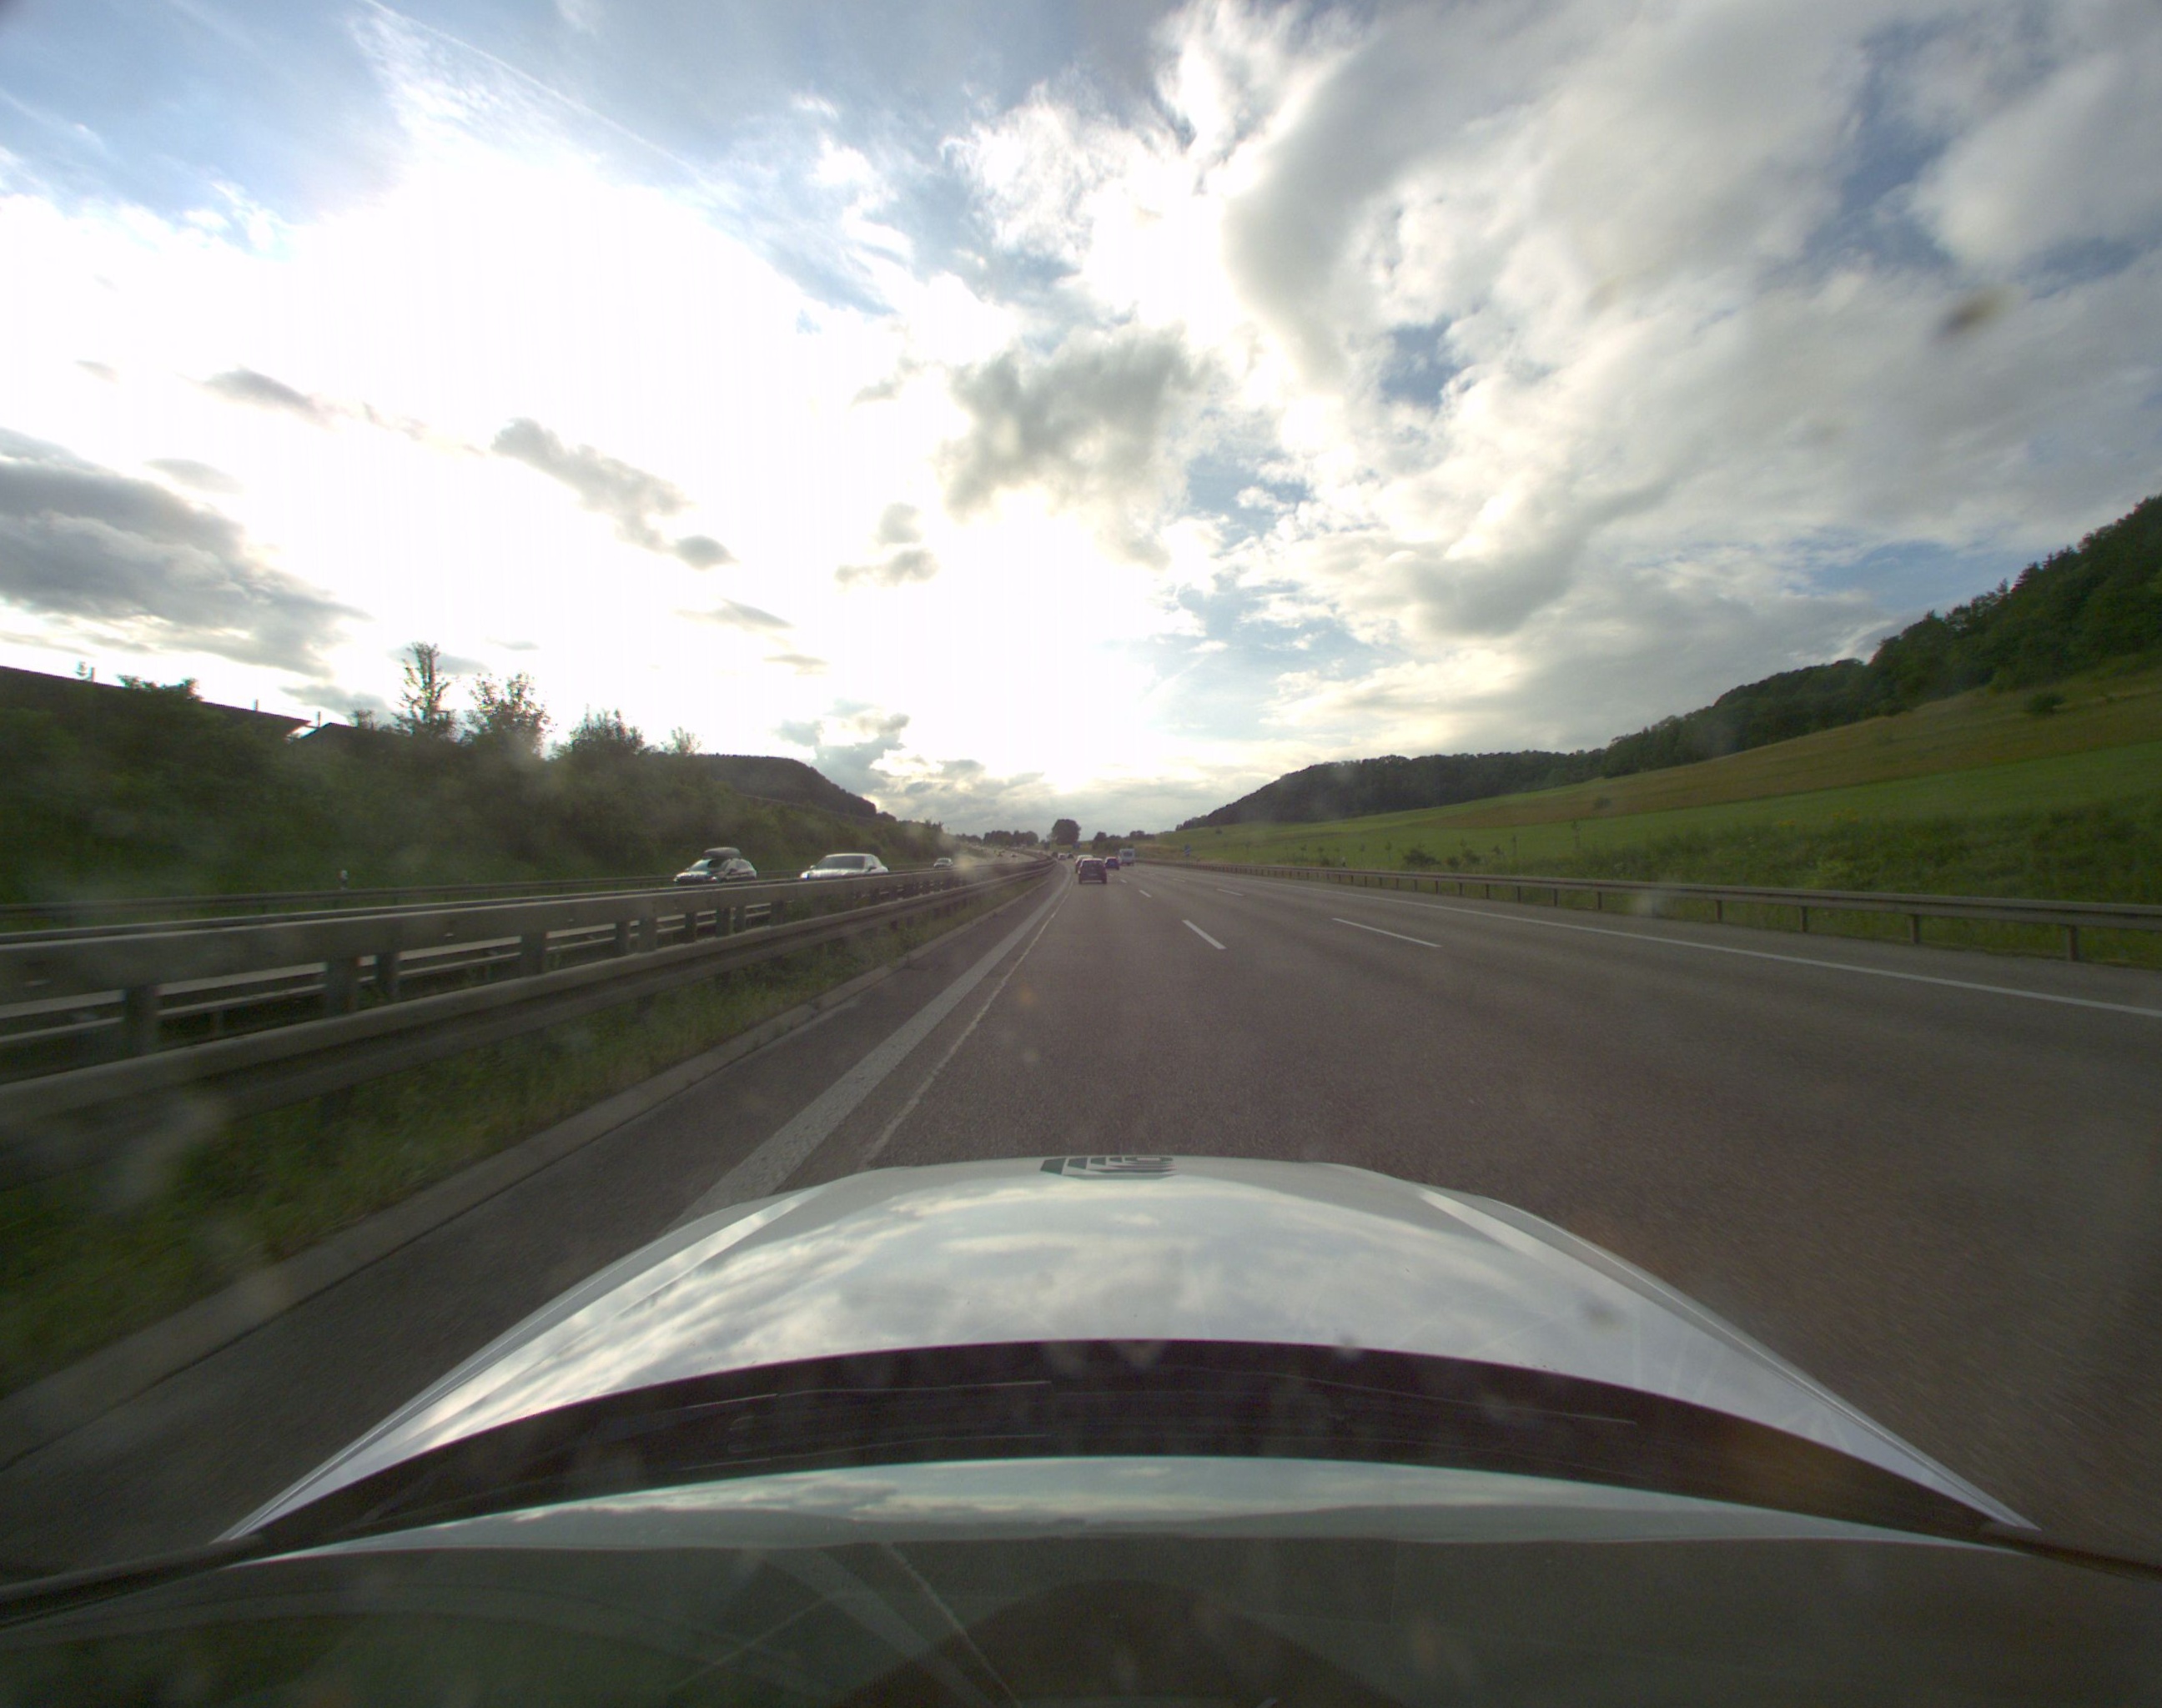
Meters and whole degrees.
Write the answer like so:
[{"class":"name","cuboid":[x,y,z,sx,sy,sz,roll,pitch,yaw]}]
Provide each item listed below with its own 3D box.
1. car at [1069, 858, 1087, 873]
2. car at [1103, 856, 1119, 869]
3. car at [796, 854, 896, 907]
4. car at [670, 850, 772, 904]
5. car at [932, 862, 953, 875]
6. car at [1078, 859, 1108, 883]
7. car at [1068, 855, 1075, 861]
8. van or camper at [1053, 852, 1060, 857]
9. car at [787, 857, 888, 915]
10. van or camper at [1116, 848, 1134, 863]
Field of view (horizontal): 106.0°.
[{"class":"car","cuboid":[-0.251,1.036,74.475,1.560,1.380,4.000,-1,0,1]},{"class":"car","cuboid":[3.475,0.973,93.992,1.760,1.433,4.001,-1,0,1]},{"class":"car","cuboid":[-7.699,0.832,27.226,1.827,1.591,5.019,0,0,0]},{"class":"car","cuboid":[-14.704,0.903,33.634,1.956,2.040,5.019,0,-1,0]},{"class":"car","cuboid":[-15.443,1.619,90.658,1.701,1.415,3.998,0,0,-1]},{"class":"car","cuboid":[0.678,1.000,48.588,1.534,1.348,3.673,-1,0,-2]},{"class":"car","cuboid":[-2.649,0.993,222.924,1.951,1.574,3.999,-1,0,0]},{"class":"van or camper","cuboid":[-7.100,0.096,237.819,1.959,1.433,4.001,0,0,1]},{"class":"car","cuboid":[-7.480,0.921,25.445,1.636,1.656,4.348,-1,0,3]},{"class":"van or camper","cuboid":[6.810,0.295,124.905,2.536,2.239,5.336,-1,0,5]}]
